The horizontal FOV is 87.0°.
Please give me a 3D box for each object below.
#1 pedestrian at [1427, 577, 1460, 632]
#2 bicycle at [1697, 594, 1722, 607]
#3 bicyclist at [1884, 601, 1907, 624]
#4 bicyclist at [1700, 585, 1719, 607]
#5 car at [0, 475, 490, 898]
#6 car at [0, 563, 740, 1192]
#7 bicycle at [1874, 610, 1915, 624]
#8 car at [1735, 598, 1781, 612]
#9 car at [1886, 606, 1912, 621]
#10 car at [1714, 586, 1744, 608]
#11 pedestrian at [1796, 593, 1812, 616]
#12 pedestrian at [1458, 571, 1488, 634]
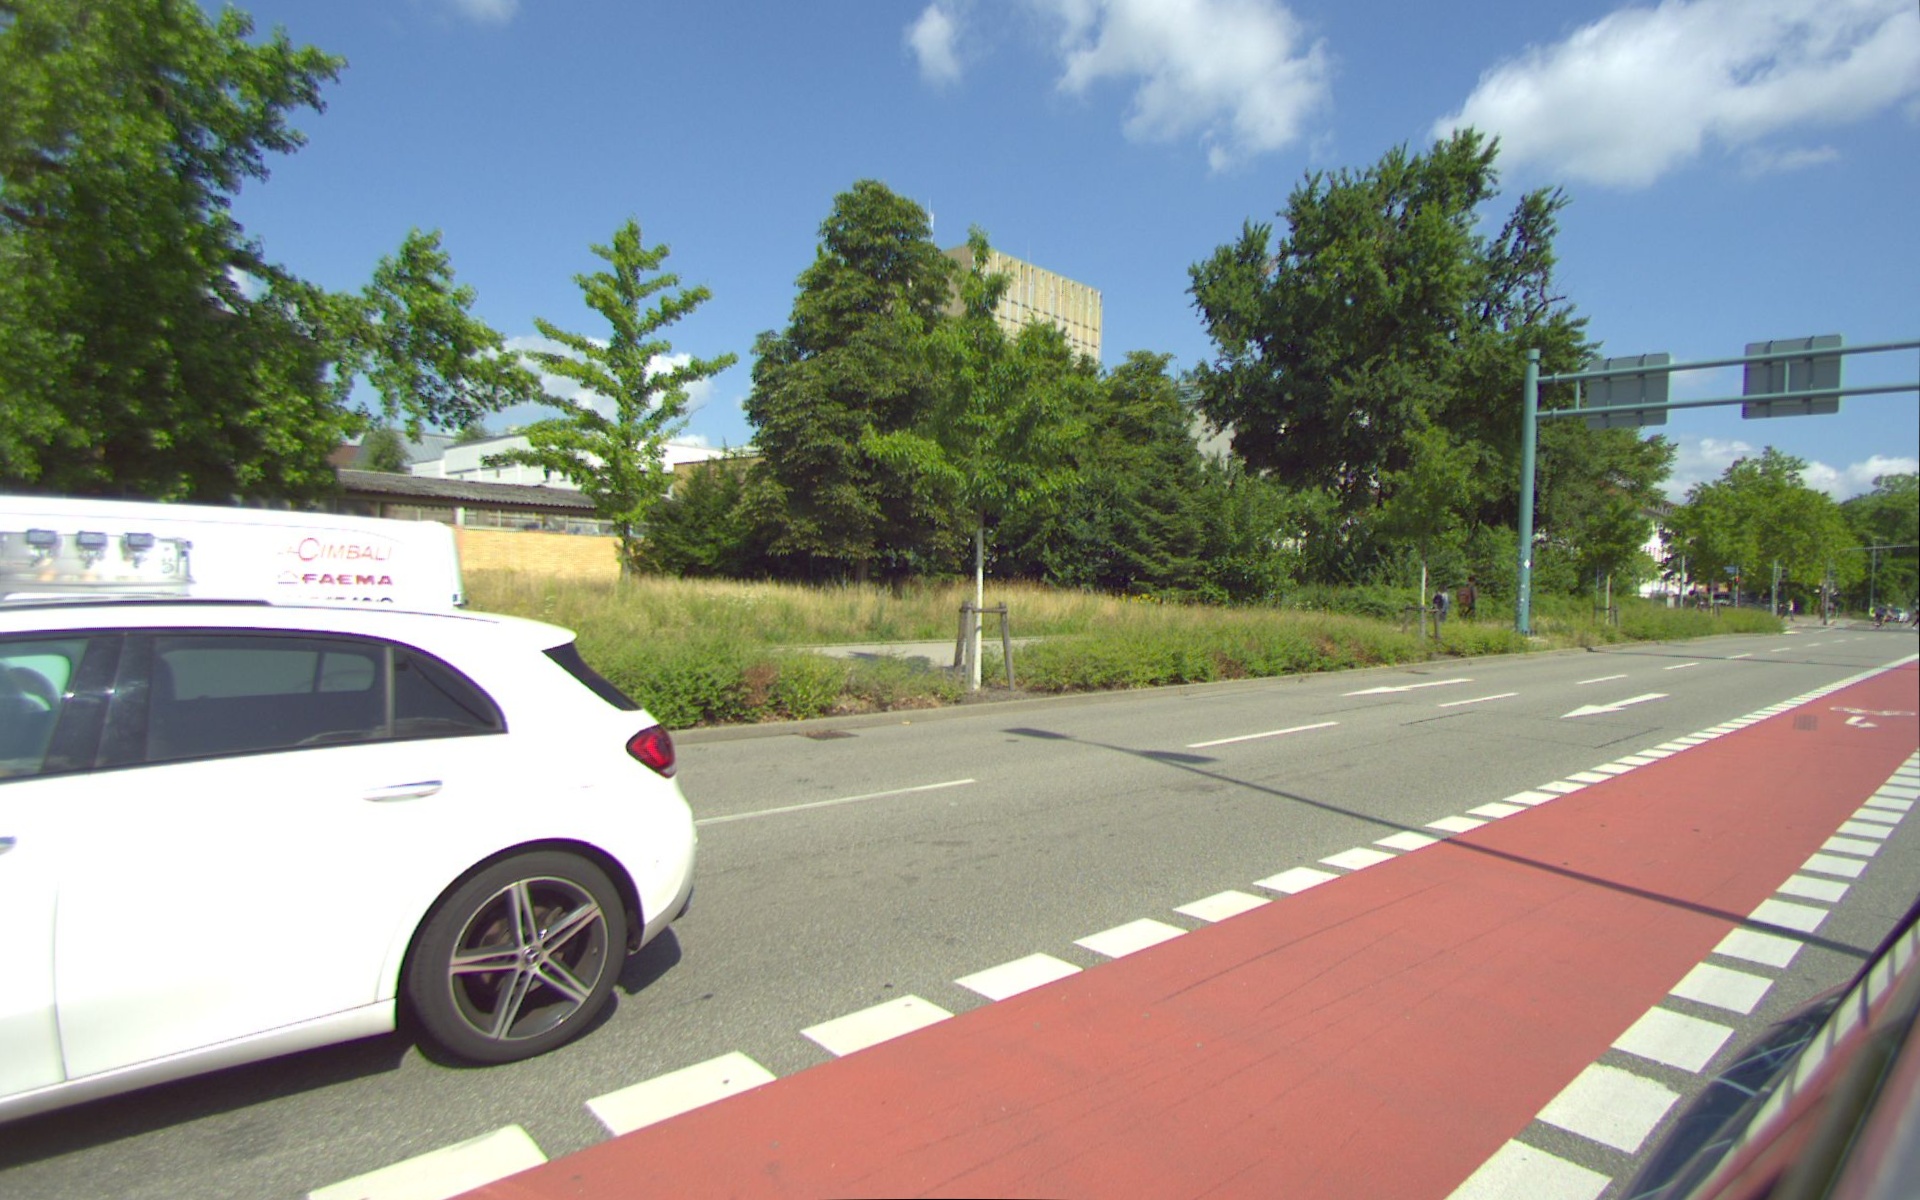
[{"bbox_3d":[14.368,0.120,30.086,0.696,1.600,0.624,1,1,-42],"label":"pedestrian"},{"bbox_3d":[53.990,0.041,72.932,0.608,0.843,1.516,2,1,-3],"label":"bicycle"},{"bbox_3d":[56.922,0.741,61.566,0.926,1.365,0.439,2,1,36],"label":"bicyclist"},{"bbox_3d":[54.000,-0.297,72.922,0.600,1.526,0.920,2,1,-2],"label":"bicyclist"},{"bbox_3d":[-5.162,0.352,5.059,4.741,1.893,1.946,1,1,-41],"label":"car"},{"bbox_3d":[-3.034,0.619,2.890,4.308,1.441,1.907,1,2,-41],"label":"car"},{"bbox_3d":[56.880,1.035,61.603,1.745,0.785,0.439,2,1,36],"label":"bicycle"},{"bbox_3d":[90.799,0.527,115.191,3.978,1.442,1.734,3,2,37],"label":"car"},{"bbox_3d":[93.113,1.297,100.378,1.704,1.345,3.939,6,4,42],"label":"car"},{"bbox_3d":[75.073,-0.294,98.805,1.992,2.039,4.829,3,1,41],"label":"car"},{"bbox_3d":[63.954,0.326,76.708,0.627,1.670,0.743,1,1,-33],"label":"pedestrian"},{"bbox_3d":[15.034,0.060,29.663,0.628,1.824,0.568,1,1,-42],"label":"pedestrian"}]
